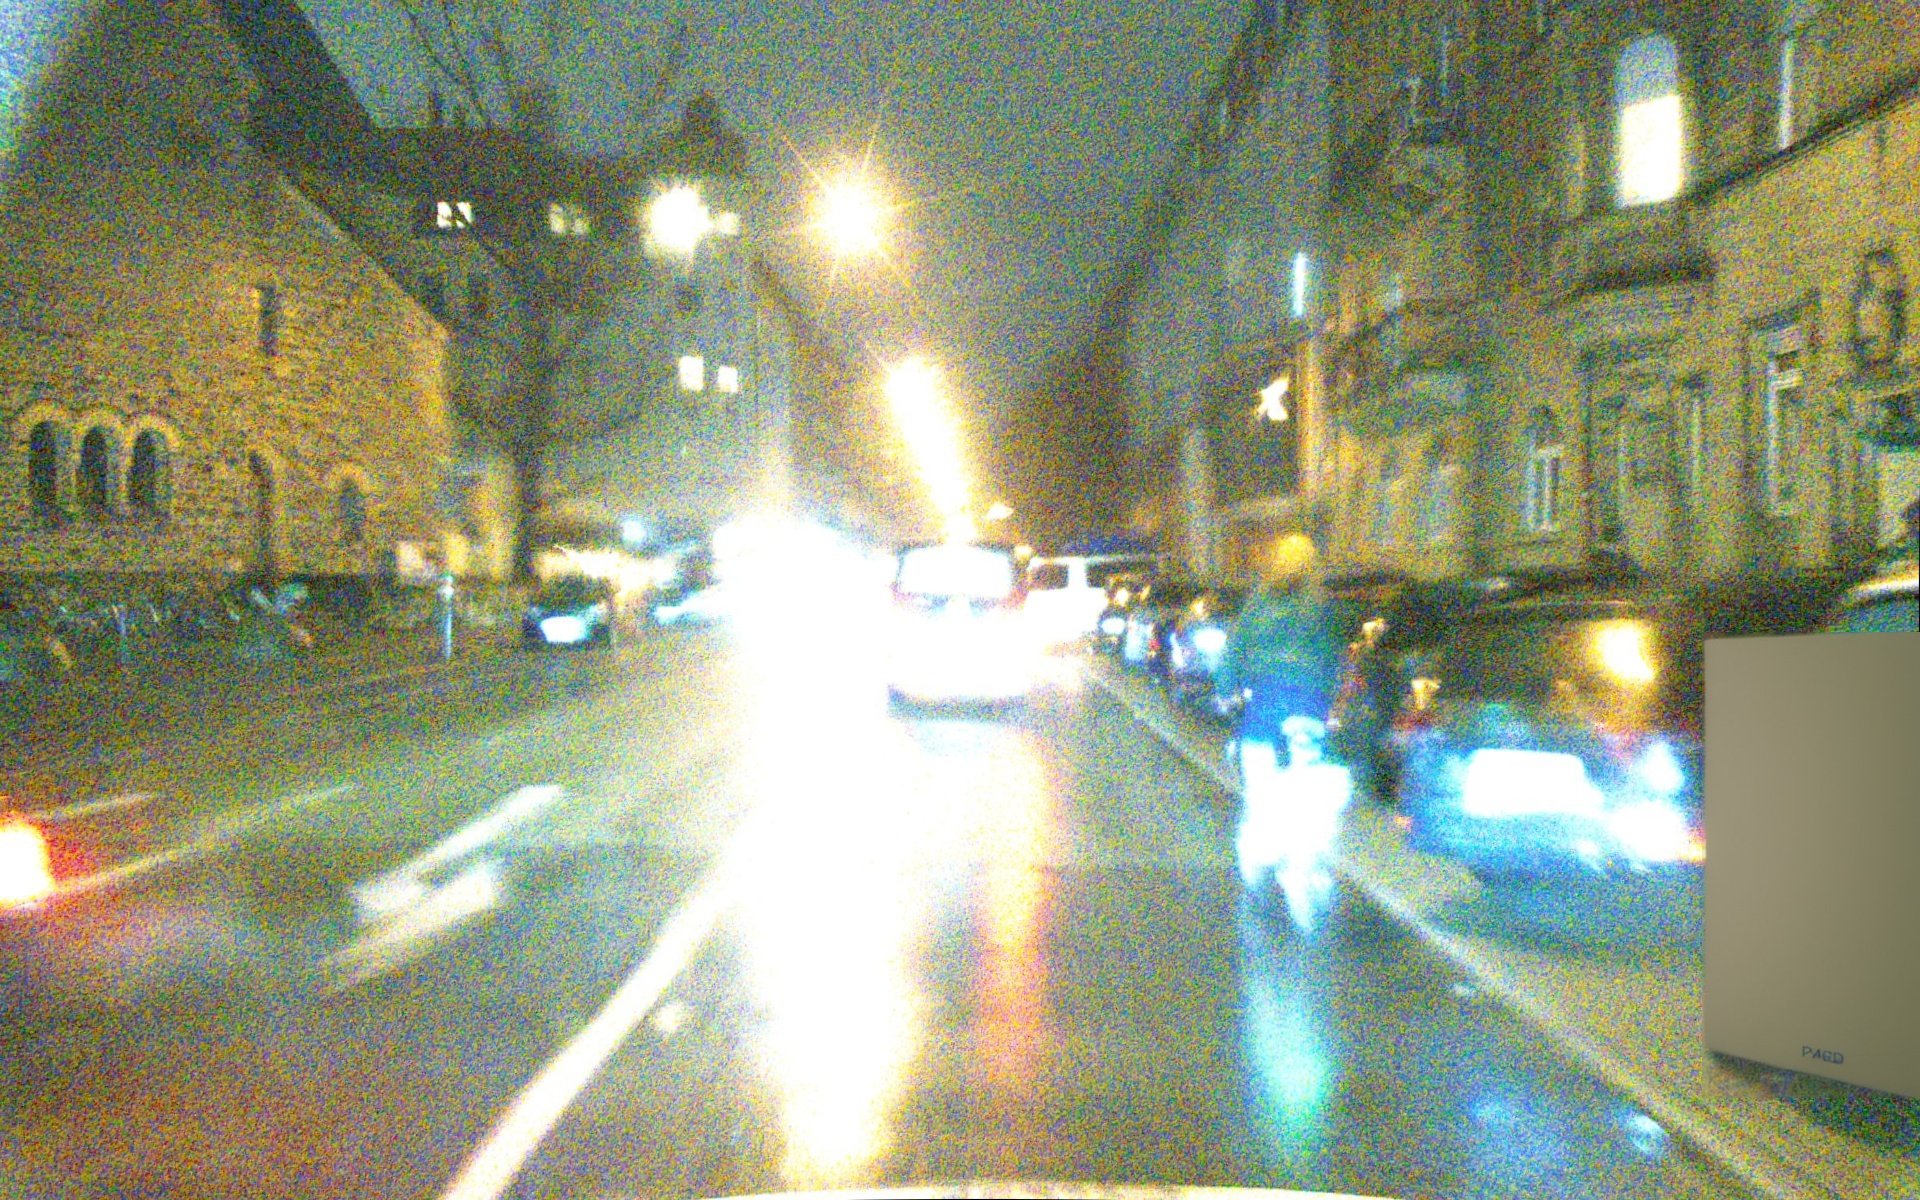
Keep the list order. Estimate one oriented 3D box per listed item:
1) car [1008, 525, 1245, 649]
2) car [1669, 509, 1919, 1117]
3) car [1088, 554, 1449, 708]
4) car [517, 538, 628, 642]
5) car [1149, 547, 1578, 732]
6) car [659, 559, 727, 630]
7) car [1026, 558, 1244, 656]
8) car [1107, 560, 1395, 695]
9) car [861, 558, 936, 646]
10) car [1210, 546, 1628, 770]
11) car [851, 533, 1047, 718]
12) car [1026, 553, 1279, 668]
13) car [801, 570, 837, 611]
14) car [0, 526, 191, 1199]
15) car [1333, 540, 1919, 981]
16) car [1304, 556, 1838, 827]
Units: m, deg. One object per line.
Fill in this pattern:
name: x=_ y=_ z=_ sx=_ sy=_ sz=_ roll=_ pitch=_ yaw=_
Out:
car: x=3.601 y=-0.336 z=35.348 sx=4.959 sy=2.433 sz=2.110 roll=-3 pitch=2 yaw=-38
car: x=4.293 y=0.484 z=5.428 sx=4.143 sy=1.604 sz=1.857 roll=-3 pitch=2 yaw=-38
car: x=3.839 y=0.324 z=20.634 sx=4.112 sy=1.674 sz=1.759 roll=-2 pitch=1 yaw=-21
car: x=-8.029 y=-0.229 z=34.041 sx=1.959 sy=2.006 sz=4.282 roll=0 pitch=1 yaw=-17
car: x=4.233 y=0.342 z=17.383 sx=4.112 sy=1.674 sz=1.759 roll=-2 pitch=1 yaw=-21
car: x=-7.934 y=-0.190 z=48.977 sx=1.695 sy=2.006 sz=3.714 roll=0 pitch=1 yaw=-14
car: x=3.415 y=0.090 z=31.902 sx=4.143 sy=1.674 sz=1.746 roll=-3 pitch=2 yaw=-38
car: x=4.216 y=0.324 z=23.650 sx=4.143 sy=1.674 sz=1.746 roll=-3 pitch=2 yaw=-38
car: x=-1.503 y=0.009 z=39.604 sx=1.690 sy=2.006 sz=4.218 roll=0 pitch=1 yaw=-3
car: x=4.225 y=0.408 z=14.882 sx=4.150 sy=1.674 sz=1.637 roll=-3 pitch=2 yaw=-42
car: x=-0.106 y=0.248 z=20.267 sx=2.123 sy=2.006 sz=4.302 roll=-1 pitch=1 yaw=0
car: x=3.237 y=0.124 z=27.421 sx=4.143 sy=1.674 sz=1.746 roll=-3 pitch=2 yaw=-38
car: x=-7.194 y=-0.508 z=84.853 sx=1.690 sy=2.006 sz=4.218 roll=0 pitch=1 yaw=-3
car: x=-2.691 y=0.672 z=1.493 sx=1.751 sy=1.581 sz=4.854 roll=0 pitch=1 yaw=0
car: x=3.922 y=0.545 z=8.098 sx=4.135 sy=1.618 sz=1.711 roll=-3 pitch=2 yaw=-34
car: x=4.418 y=0.500 z=11.672 sx=4.144 sy=1.500 sz=1.639 roll=-3 pitch=2 yaw=-39
